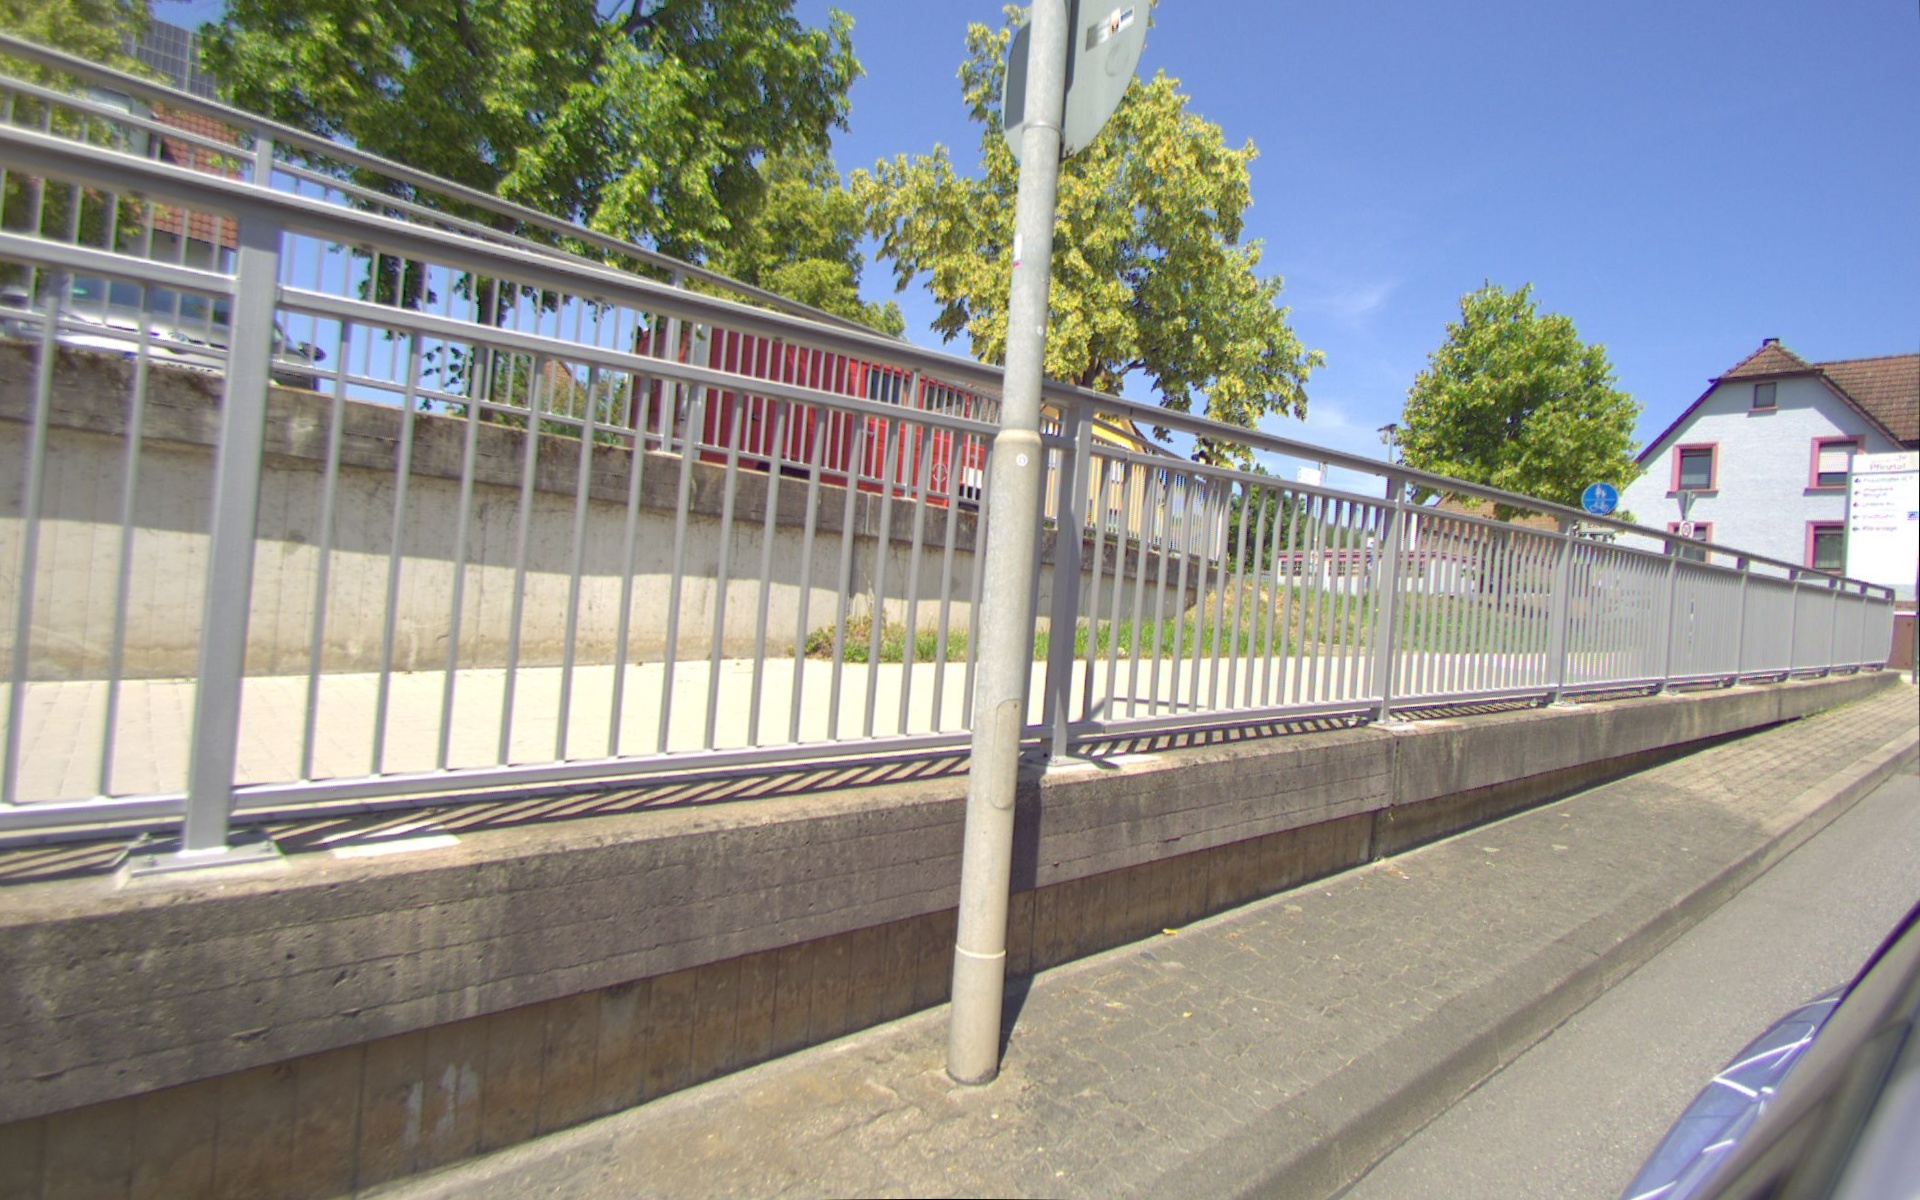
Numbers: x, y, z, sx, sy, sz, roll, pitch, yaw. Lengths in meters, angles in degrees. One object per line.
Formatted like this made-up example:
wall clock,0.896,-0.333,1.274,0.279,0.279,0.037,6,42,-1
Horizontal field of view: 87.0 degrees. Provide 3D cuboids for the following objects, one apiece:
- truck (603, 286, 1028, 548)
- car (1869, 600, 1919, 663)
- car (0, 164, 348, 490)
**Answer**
truck,-1.733,-2.115,13.461,5.166,2.364,2.136,4,-1,-41
car,24.975,0.894,24.977,3.672,1.497,1.747,5,2,44
car,-6.222,-1.842,8.069,1.716,1.517,3.997,4,-1,-39
